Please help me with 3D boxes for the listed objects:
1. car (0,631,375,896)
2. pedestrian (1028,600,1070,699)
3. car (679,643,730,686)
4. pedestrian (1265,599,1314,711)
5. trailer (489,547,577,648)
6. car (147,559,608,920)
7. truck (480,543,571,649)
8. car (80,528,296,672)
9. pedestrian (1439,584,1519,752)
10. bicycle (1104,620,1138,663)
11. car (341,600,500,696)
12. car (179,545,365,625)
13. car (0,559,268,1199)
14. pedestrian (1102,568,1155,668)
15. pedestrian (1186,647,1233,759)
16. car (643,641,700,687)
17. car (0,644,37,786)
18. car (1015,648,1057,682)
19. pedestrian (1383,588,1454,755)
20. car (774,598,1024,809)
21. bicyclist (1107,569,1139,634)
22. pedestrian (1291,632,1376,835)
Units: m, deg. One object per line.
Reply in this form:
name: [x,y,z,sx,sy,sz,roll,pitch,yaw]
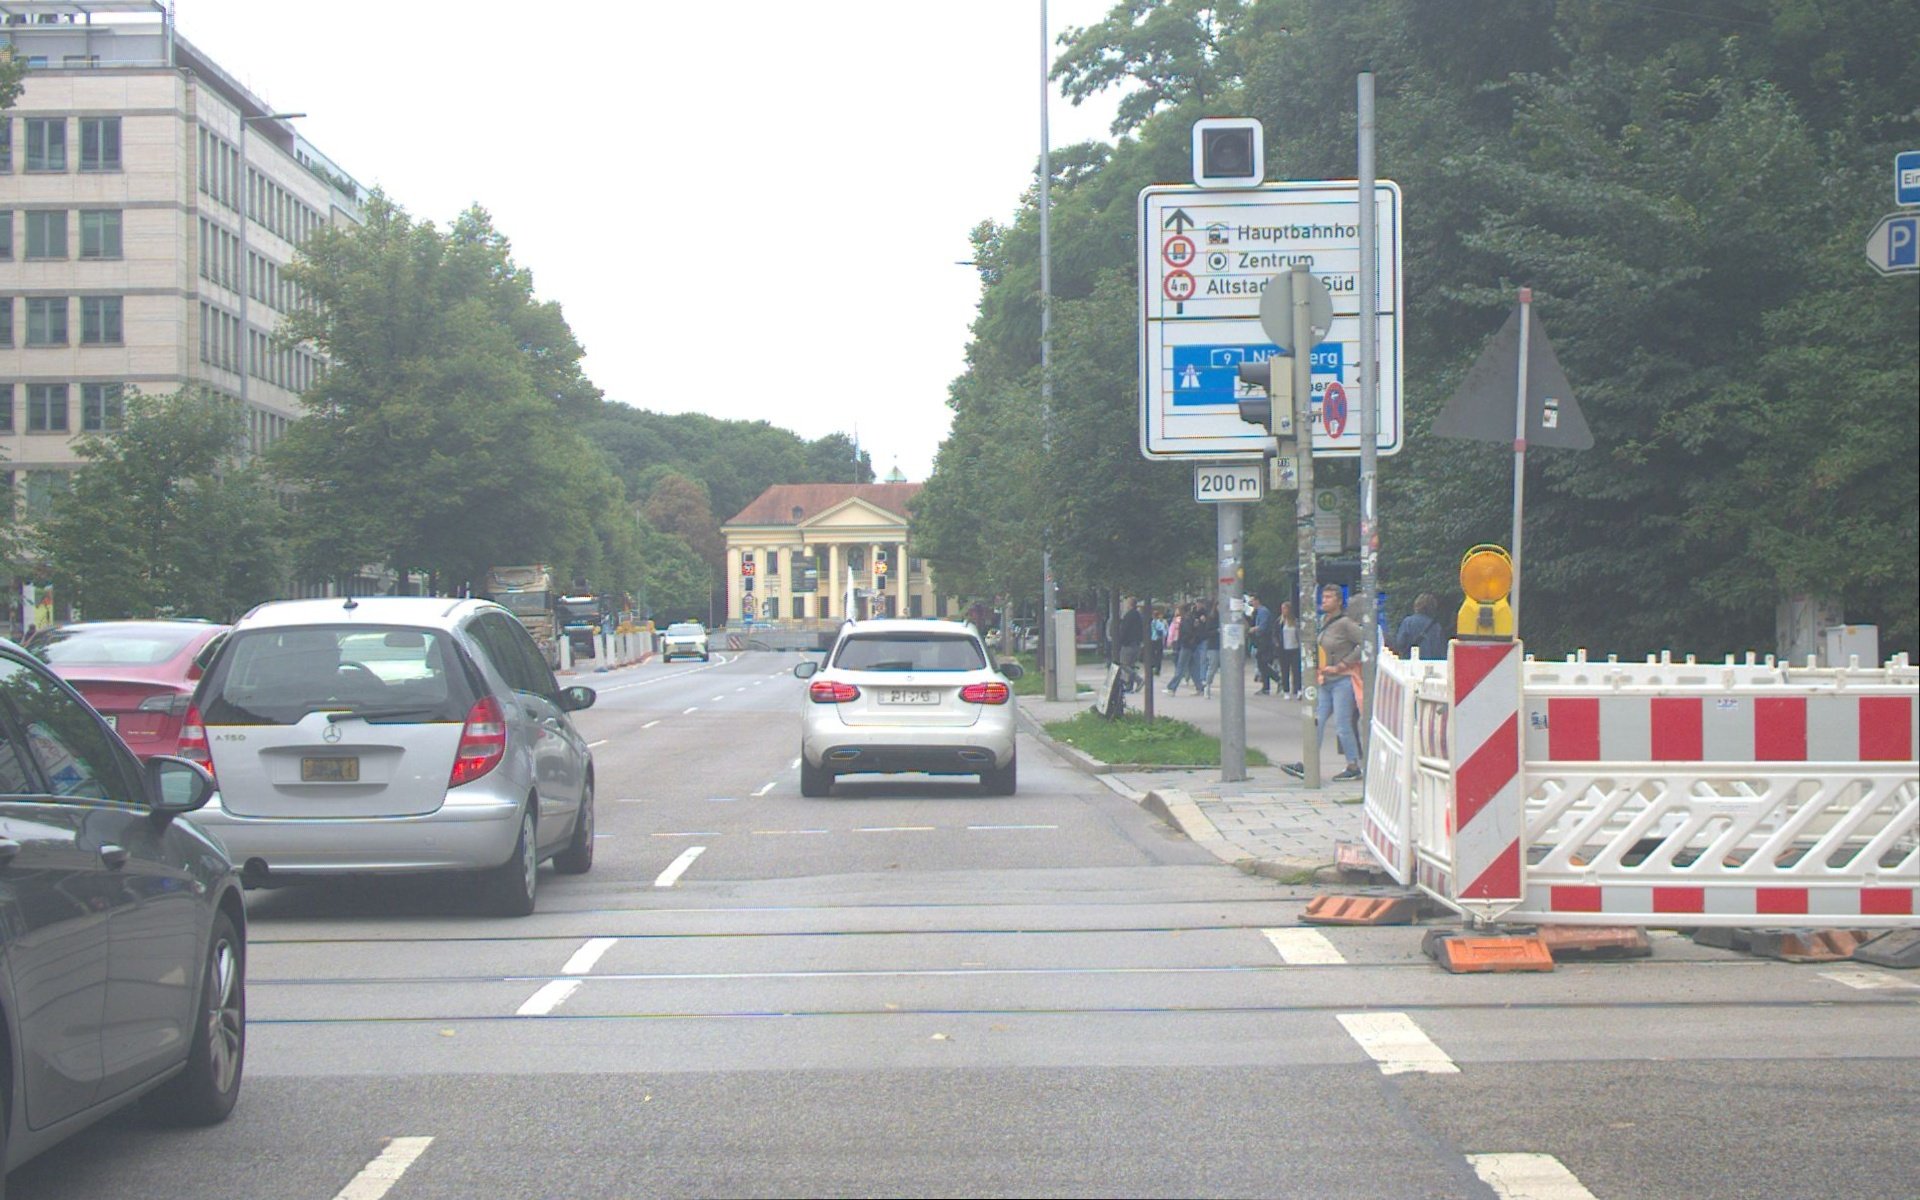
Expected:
car: [-5.558,1.065,23.921,1.780,1.648,3.998,1,-1,8]
pedestrian: [1.630,0.912,63.150,0.708,1.802,0.639,1,-1,-1]
car: [-10.601,2.657,142.838,1.820,1.722,3.881,1,-1,0]
pedestrian: [5.705,0.955,59.595,0.708,1.909,0.956,1,-1,-1]
trailer: [-16.677,-0.027,134.910,2.949,3.727,11.772,1,-1,-5]
car: [-2.921,0.674,18.051,1.779,1.648,4.000,1,-1,-1]
truck: [-16.033,-0.098,127.265,2.915,3.762,7.666,1,-1,-5]
car: [-8.834,0.013,39.635,1.634,1.566,3.946,0,0,-1]
pedestrian: [5.749,0.753,38.091,0.751,1.833,0.756,1,-1,1]
bicycle: [3.914,1.003,83.576,0.675,1.027,2.012,1,-1,-1]
car: [-8.571,0.754,54.943,1.767,1.418,4.747,-2,-1,0]
car: [-22.242,-0.466,111.290,5.679,2.528,2.157,0,-1,-4]
car: [-2.908,0.682,8.283,1.710,1.547,4.000,1,-1,-1]
pedestrian: [3.207,0.338,65.327,0.805,1.874,0.543,1,-1,36]
pedestrian: [4.332,1.777,59.732,0.708,1.909,0.956,1,-1,-1]
car: [-11.639,2.576,139.007,1.857,1.743,4.629,-2,0,0]
car: [-11.717,1.339,38.568,1.744,1.590,4.000,-2,0,-2]
car: [3.543,3.045,160.784,1.827,1.544,4.751,-1,-1,0]
pedestrian: [5.107,0.795,38.305,0.671,1.833,0.641,1,-1,1]
car: [-0.588,0.841,29.250,1.779,1.639,4.000,1,-1,-6]
bicyclist: [3.969,0.042,83.554,0.708,1.556,0.639,1,0,-1]
pedestrian: [3.272,1.162,30.133,0.608,1.755,0.636,0,-1,-6]
